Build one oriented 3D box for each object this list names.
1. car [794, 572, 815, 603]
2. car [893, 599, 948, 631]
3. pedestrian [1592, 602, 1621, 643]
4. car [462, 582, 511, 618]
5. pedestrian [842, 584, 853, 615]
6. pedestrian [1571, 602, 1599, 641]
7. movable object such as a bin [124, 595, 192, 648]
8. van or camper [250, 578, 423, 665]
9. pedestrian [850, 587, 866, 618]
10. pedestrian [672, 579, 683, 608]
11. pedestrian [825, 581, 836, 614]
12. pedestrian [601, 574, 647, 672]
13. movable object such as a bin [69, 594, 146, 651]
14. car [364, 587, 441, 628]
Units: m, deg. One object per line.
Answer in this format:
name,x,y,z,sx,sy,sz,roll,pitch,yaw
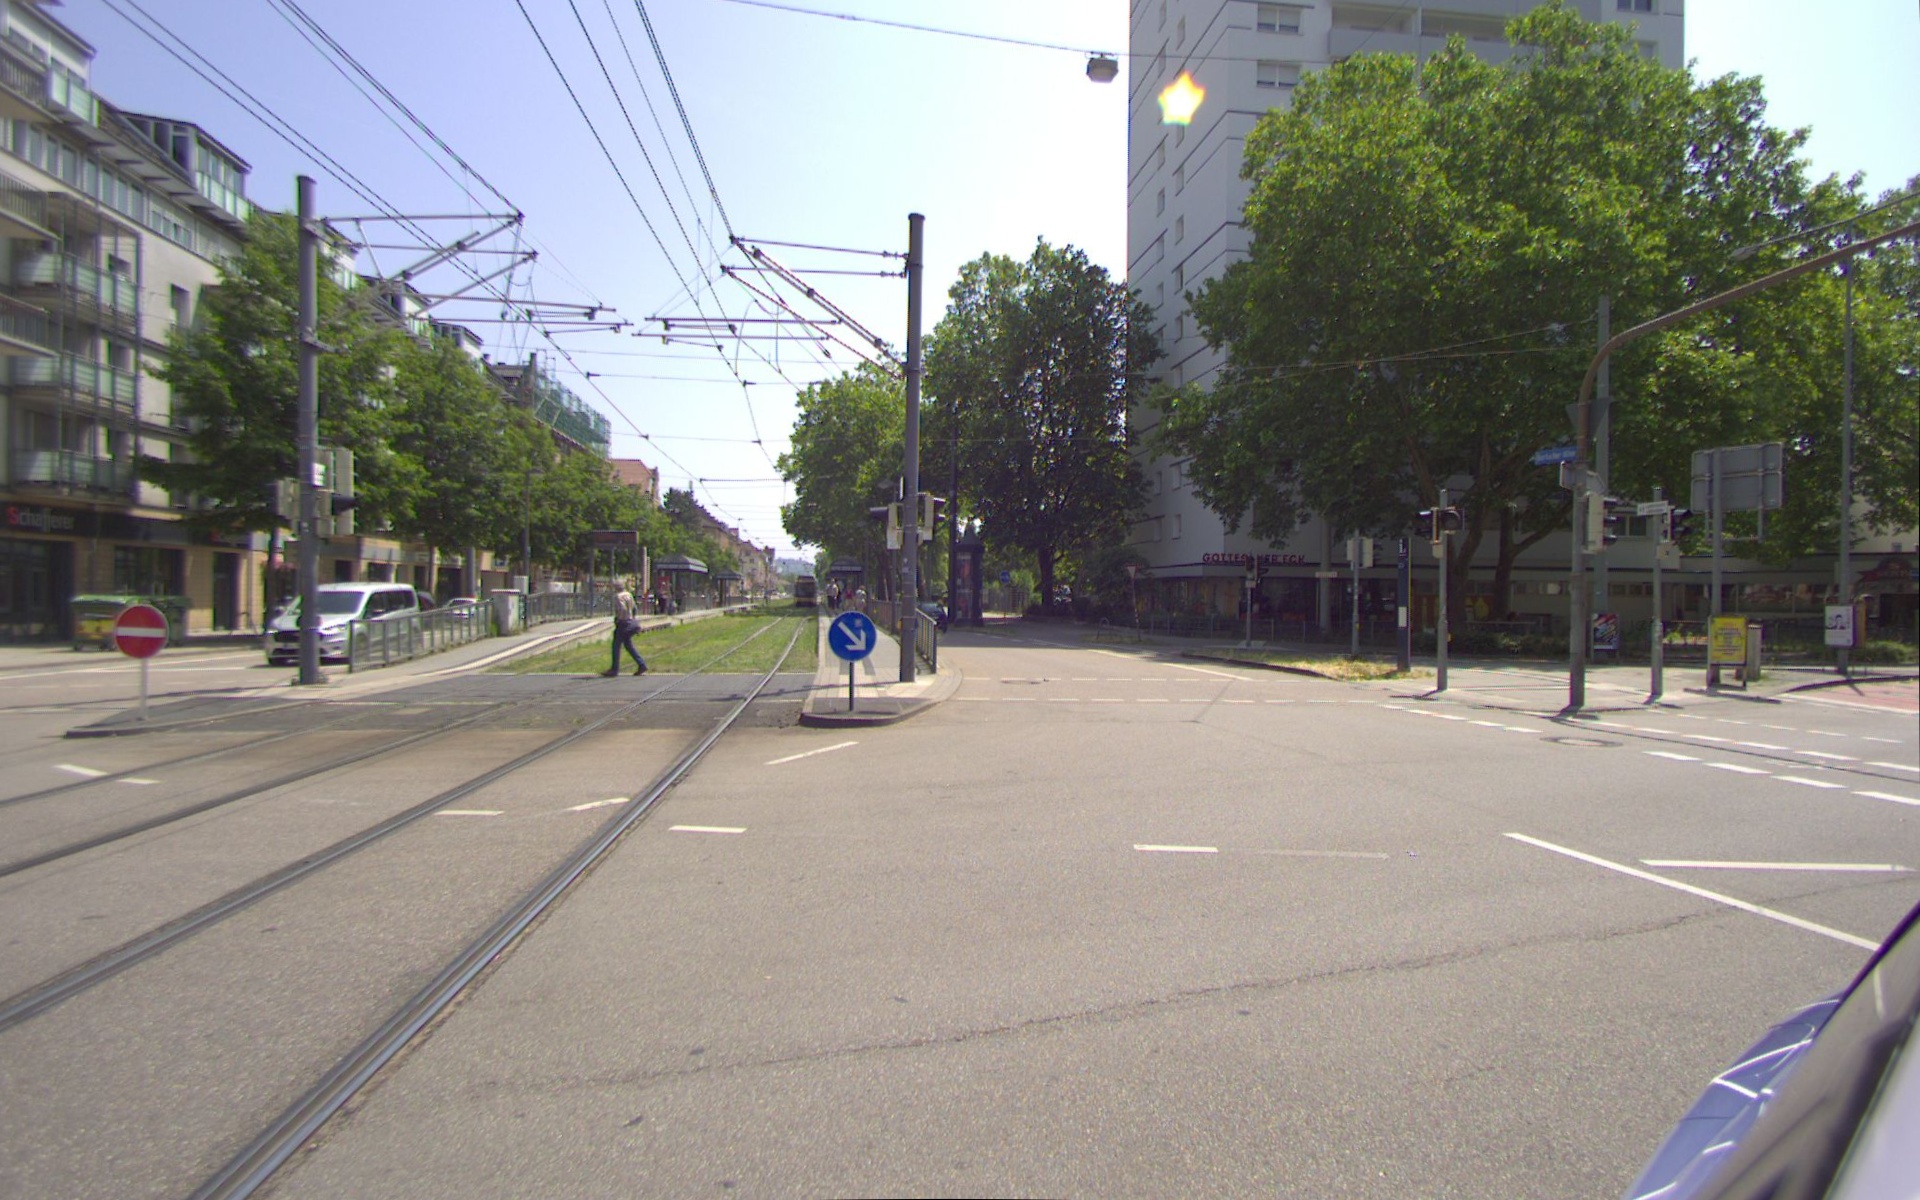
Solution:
car,-17.979,-1.374,116.974,2.229,3.381,12.053,0,0,-8
car,-1.867,0.667,47.302,1.451,1.413,3.400,0,0,-23
pedestrian,22.653,0.781,35.471,0.626,1.382,0.595,0,0,-13
car,-27.824,-0.013,59.554,1.958,2.039,4.008,0,1,-15
pedestrian,-5.745,-0.023,51.709,0.536,1.600,0.516,0,0,-9
pedestrian,22.504,0.771,36.458,0.626,1.382,0.595,0,0,-13
movable object such as a bin,-22.690,0.580,28.644,1.189,1.454,1.010,0,0,-14
van or camper,-14.137,0.410,23.271,1.731,1.780,4.601,-1,1,-9
pedestrian,-4.590,0.108,45.360,0.665,1.366,0.633,0,0,-9
pedestrian,-15.915,-0.364,56.983,0.539,1.626,0.554,0,0,-8
pedestrian,-6.439,-0.148,50.356,0.542,1.626,0.681,0,0,-9
pedestrian,-5.987,0.400,18.045,0.666,1.727,0.554,0,0,-5
movable object such as a bin,-22.289,0.569,26.492,1.190,1.454,1.009,0,0,-5
car,-25.598,0.295,46.626,1.958,1.794,4.007,0,1,-11
